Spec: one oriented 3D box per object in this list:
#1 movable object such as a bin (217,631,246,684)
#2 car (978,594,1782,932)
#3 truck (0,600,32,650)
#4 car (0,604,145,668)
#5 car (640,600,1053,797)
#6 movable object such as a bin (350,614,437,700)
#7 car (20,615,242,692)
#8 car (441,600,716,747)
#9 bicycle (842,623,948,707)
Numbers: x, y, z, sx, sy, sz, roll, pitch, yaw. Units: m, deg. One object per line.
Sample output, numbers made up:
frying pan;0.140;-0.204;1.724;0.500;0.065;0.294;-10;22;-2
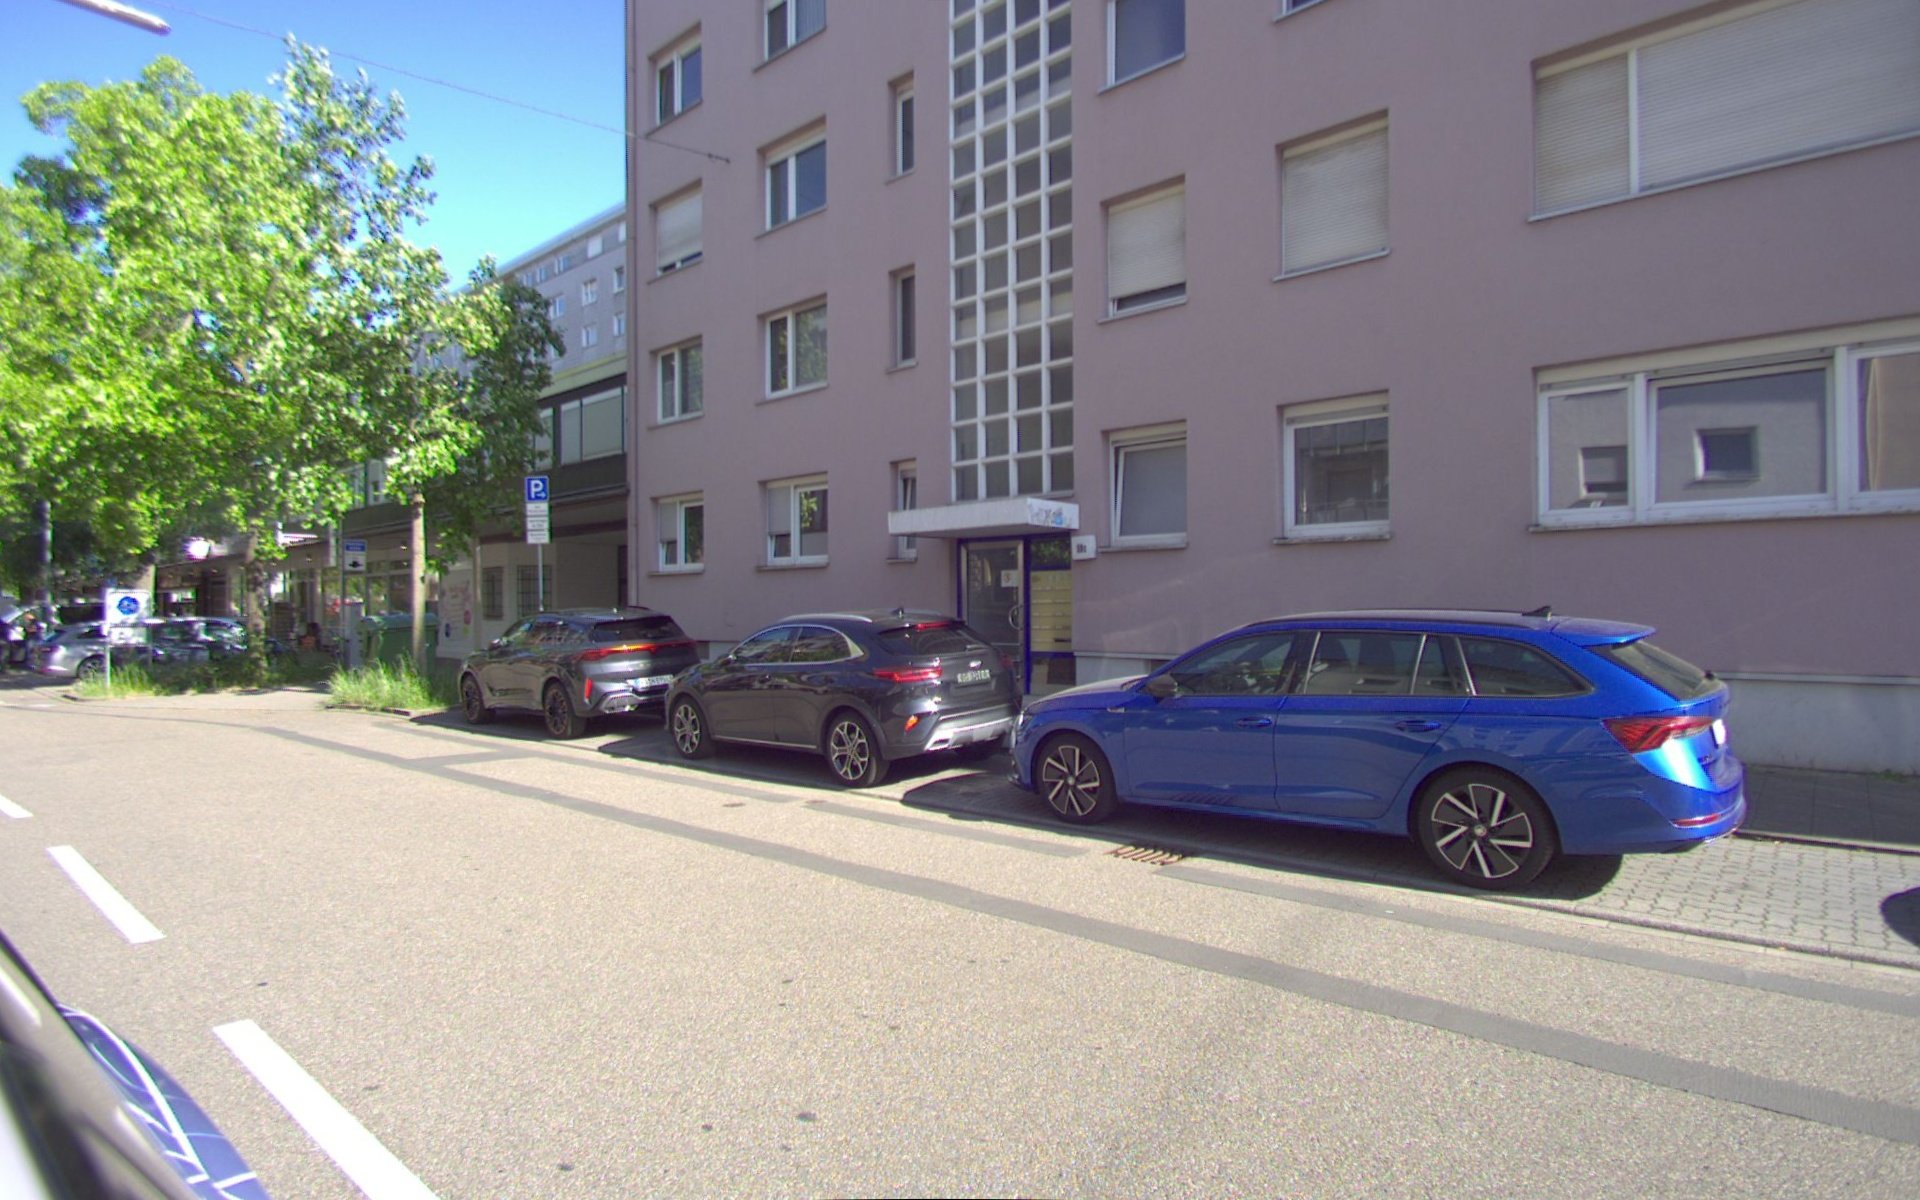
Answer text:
movable object such as a bin;-17.664;1.386;24.542;0.409;1.234;0.482;-1;-1;42
car;2.436;0.769;6.708;4.610;1.476;1.699;-1;1;41
truck;-51.146;1.294;51.664;1.993;2.615;5.265;-1;-1;31
car;-30.403;1.188;34.422;1.999;2.047;3.945;-1;-1;41
car;-1.307;0.824;10.221;4.245;1.519;1.797;-1;1;43
movable object such as a bin;-10.782;1.060;19.251;1.229;1.557;1.019;0;-1;-44
car;-20.147;1.233;24.703;1.999;1.687;3.945;-1;-1;41
car;-5.291;0.882;13.776;4.141;1.604;1.798;-1;2;43
bicycle;-0.924;0.880;14.130;1.649;1.084;0.386;-1;3;42
